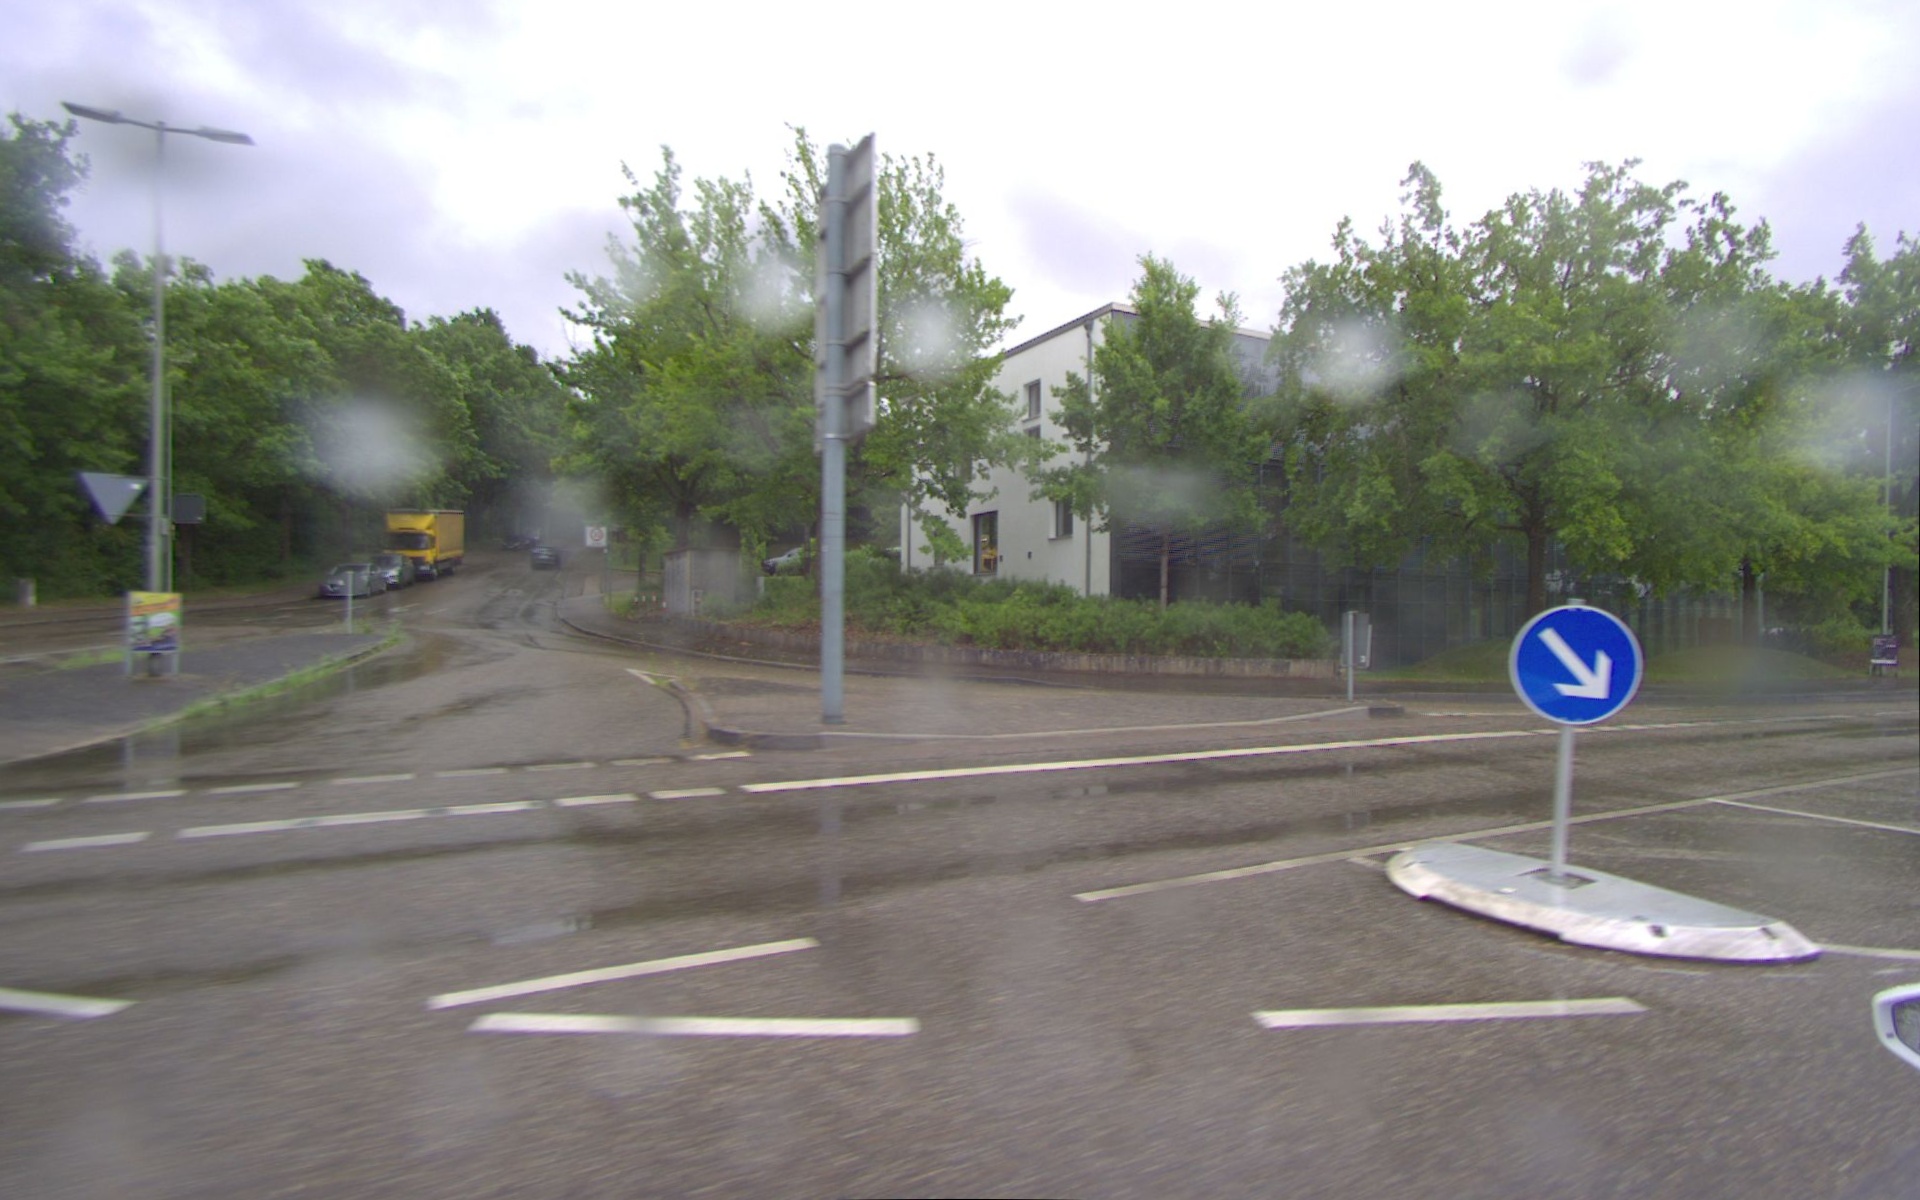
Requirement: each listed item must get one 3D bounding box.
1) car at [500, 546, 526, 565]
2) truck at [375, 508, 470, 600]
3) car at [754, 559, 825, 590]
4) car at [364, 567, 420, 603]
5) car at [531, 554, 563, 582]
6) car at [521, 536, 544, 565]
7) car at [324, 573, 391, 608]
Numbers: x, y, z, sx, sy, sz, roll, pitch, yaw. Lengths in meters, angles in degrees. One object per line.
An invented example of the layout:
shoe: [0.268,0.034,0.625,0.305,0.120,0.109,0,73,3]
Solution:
car: [-44.084,-4.351,99.138,1.969,1.786,4.377,1,1,-19]
truck: [-30.467,-2.519,57.402,2.772,4.717,10.649,1,1,-17]
car: [-10.667,-1.617,63.105,4.316,1.786,1.996,1,3,-9]
car: [-27.826,-0.751,49.332,1.453,1.674,3.870,1,1,-15]
car: [-28.403,-2.244,69.117,1.772,1.786,3.982,1,3,-19]
car: [-48.757,-5.588,114.679,1.969,3.119,4.978,1,1,-19]
car: [-26.069,-0.436,43.550,1.453,1.419,3.870,1,1,-15]
